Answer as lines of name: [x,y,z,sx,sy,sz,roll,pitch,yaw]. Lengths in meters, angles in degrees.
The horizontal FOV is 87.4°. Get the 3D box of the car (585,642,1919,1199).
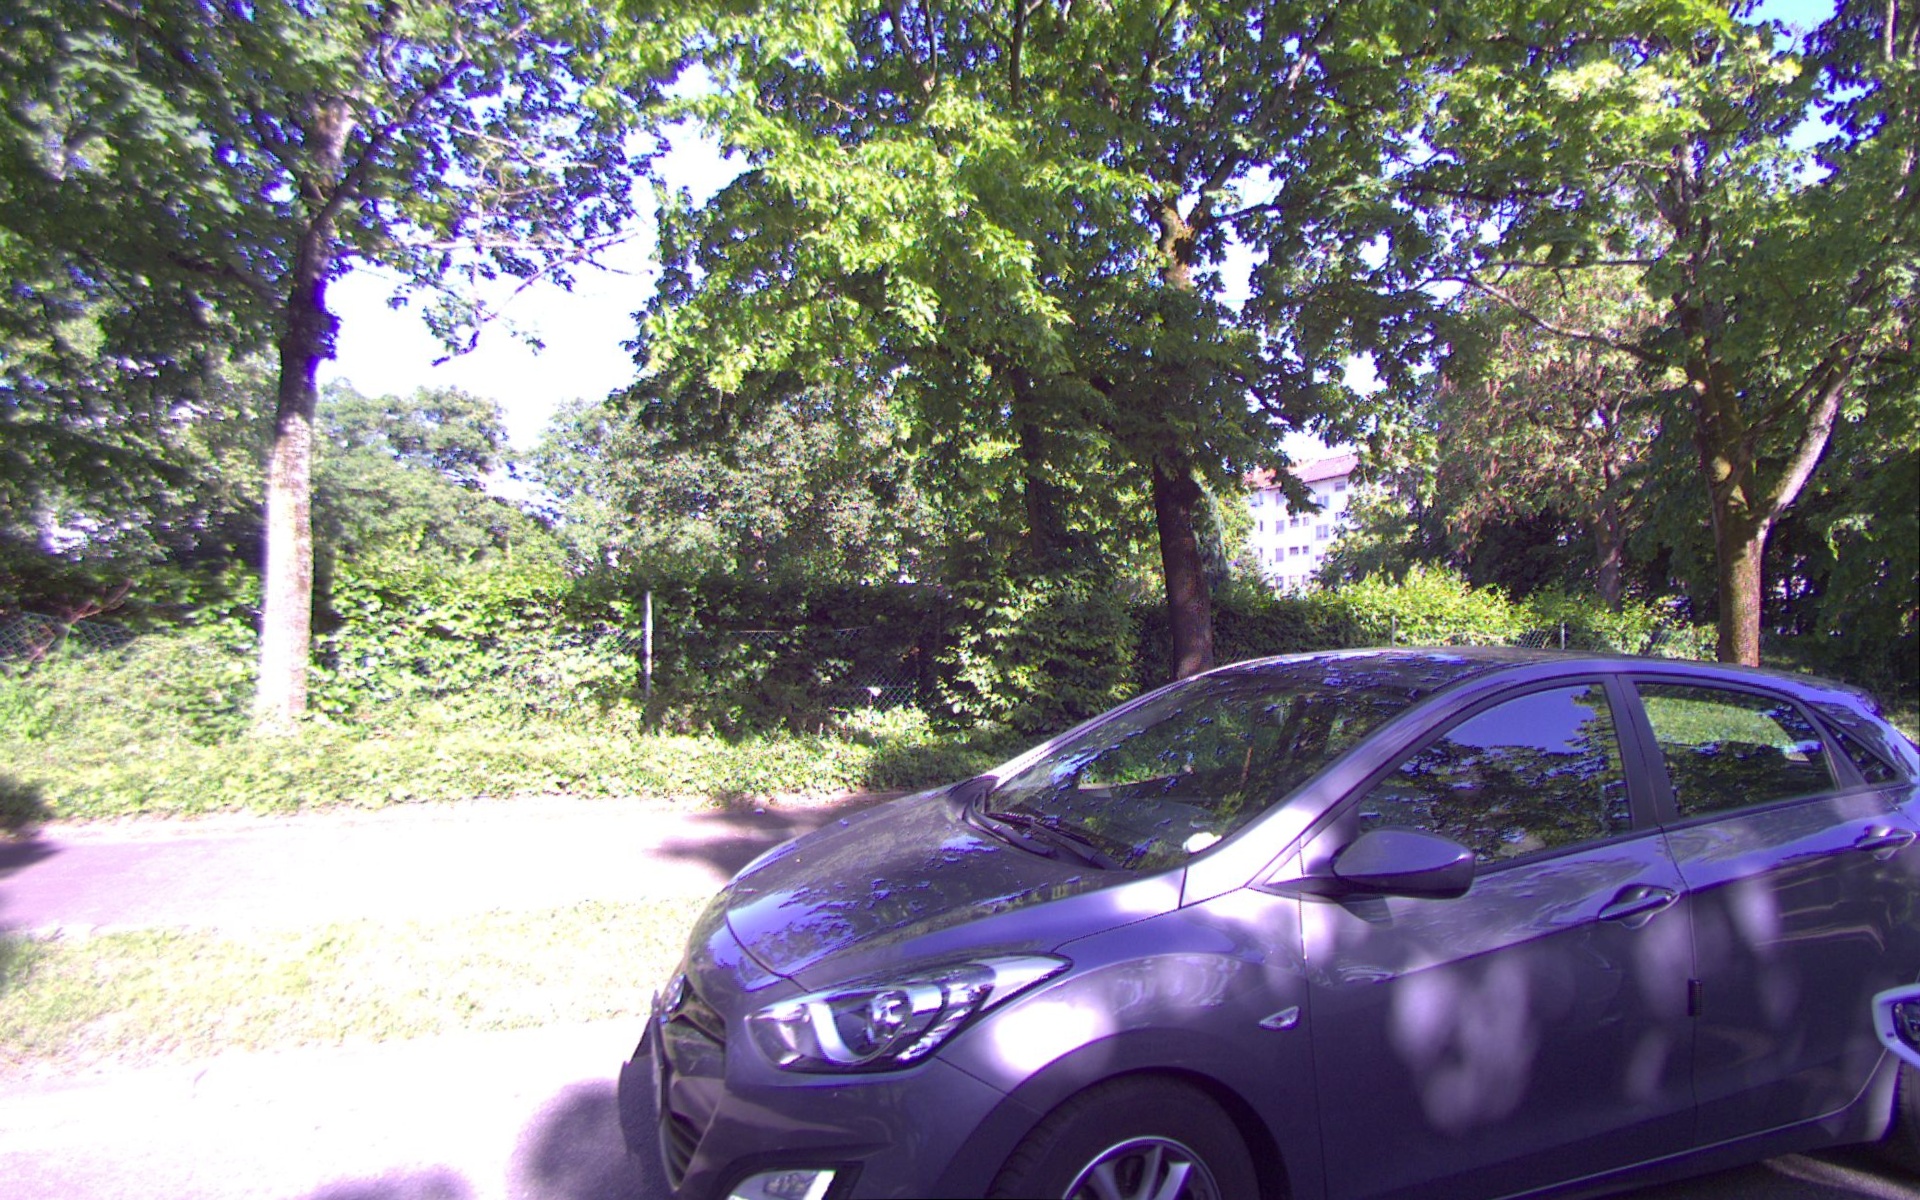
car: [1.136,0.873,3.040,4.176,1.473,1.754,1,-2,-19]
